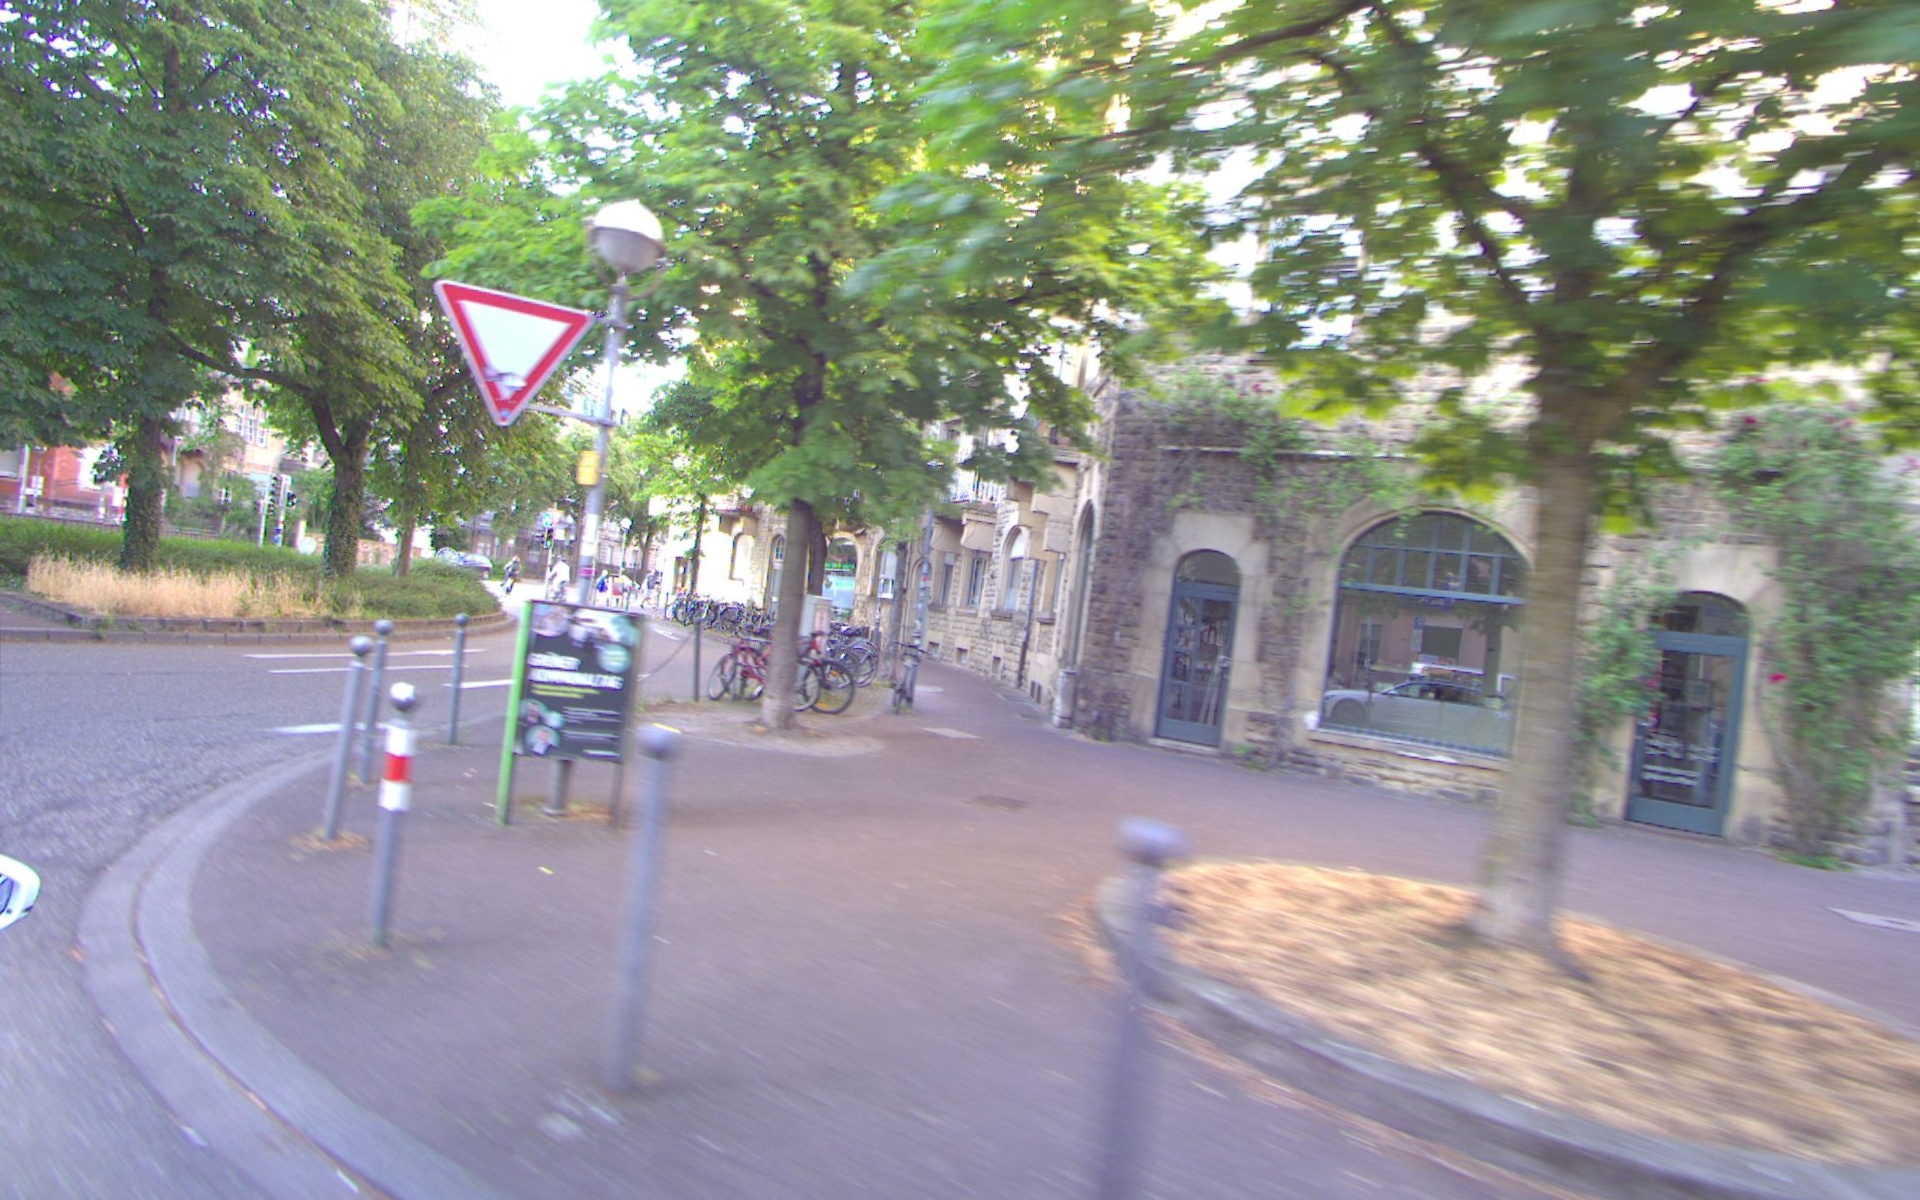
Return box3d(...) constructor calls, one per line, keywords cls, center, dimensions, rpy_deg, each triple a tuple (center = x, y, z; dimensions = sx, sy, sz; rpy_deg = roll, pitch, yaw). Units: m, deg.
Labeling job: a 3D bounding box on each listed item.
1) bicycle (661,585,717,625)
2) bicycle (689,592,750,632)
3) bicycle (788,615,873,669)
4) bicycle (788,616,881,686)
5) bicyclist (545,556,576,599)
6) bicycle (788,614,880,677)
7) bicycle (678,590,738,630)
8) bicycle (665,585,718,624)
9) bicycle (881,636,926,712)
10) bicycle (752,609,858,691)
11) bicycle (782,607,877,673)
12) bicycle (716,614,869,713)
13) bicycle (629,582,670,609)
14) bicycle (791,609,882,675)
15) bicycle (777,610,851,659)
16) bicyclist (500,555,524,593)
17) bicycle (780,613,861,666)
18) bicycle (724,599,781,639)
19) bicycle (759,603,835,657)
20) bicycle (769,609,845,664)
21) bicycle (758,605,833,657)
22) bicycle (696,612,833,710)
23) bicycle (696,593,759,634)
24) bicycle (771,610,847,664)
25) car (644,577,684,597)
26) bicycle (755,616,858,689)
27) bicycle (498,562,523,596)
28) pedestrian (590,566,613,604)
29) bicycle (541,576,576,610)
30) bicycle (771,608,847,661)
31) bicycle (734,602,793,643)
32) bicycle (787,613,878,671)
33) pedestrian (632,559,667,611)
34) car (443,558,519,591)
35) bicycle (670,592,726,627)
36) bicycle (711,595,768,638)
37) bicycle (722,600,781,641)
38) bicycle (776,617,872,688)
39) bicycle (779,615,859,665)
box3d(cls="bicycle", center=(-10.010, 0.202, 37.243), dimensions=(1.782, 1.251, 0.691), rpy_deg=(8, 0, -43))
box3d(cls="bicycle", center=(-8.328, 0.423, 34.857), dimensions=(1.873, 1.176, 0.635), rpy_deg=(8, 0, -33))
box3d(cls="bicycle", center=(-3.007, 0.967, 23.340), dimensions=(1.825, 1.026, 0.418), rpy_deg=(7, 0, -12))
box3d(cls="bicycle", center=(-2.304, 0.938, 18.478), dimensions=(1.580, 1.089, 0.418), rpy_deg=(7, 0, -9))
box3d(cls="bicyclist", center=(-14.425, -0.825, 36.330), dimensions=(0.694, 1.428, 0.856), rpy_deg=(7, 0, -36))
box3d(cls="bicycle", center=(-2.623, 0.949, 20.945), dimensions=(1.767, 1.076, 0.446), rpy_deg=(7, 0, -13))
box3d(cls="bicycle", center=(-8.841, 0.370, 35.392), dimensions=(1.880, 1.176, 0.633), rpy_deg=(8, 0, -43))
box3d(cls="bicycle", center=(-10.239, 0.187, 38.396), dimensions=(1.783, 1.251, 0.643), rpy_deg=(8, 0, -45))
box3d(cls="bicycle", center=(-0.810, 1.061, 14.791), dimensions=(0.424, 0.980, 1.727), rpy_deg=(7, -1, 1))
box3d(cls="bicycle", center=(-2.557, 0.819, 16.714), dimensions=(1.579, 1.162, 0.554), rpy_deg=(7, 0, -5))
box3d(cls="bicycle", center=(-2.855, 0.876, 22.055), dimensions=(1.891, 1.214, 0.551), rpy_deg=(7, 0, -15))
box3d(cls="bicycle", center=(-2.221, 0.833, 13.397), dimensions=(1.863, 1.052, 0.432), rpy_deg=(7, 0, 8))
box3d(cls="bicycle", center=(-16.335, -0.243, 53.007), dimensions=(1.857, 1.144, 0.726), rpy_deg=(8, 0, -29))
box3d(cls="bicycle", center=(-2.630, 0.898, 21.357), dimensions=(1.767, 1.182, 0.446), rpy_deg=(7, 0, -13))
box3d(cls="bicycle", center=(-3.914, 0.938, 26.995), dimensions=(1.841, 1.117, 0.567), rpy_deg=(8, 0, -40))
box3d(cls="bicyclist", center=(-18.452, -1.073, 41.411), dimensions=(0.690, 1.479, 0.780), rpy_deg=(7, 0, -21))
box3d(cls="bicycle", center=(-3.411, 0.970, 24.629), dimensions=(1.827, 1.064, 0.417), rpy_deg=(7, 0, -16))
box3d(cls="bicycle", center=(-6.790, 0.631, 32.948), dimensions=(1.655, 1.091, 0.483), rpy_deg=(7, 0, -27))
box3d(cls="bicycle", center=(-4.425, 0.821, 27.329), dimensions=(1.857, 1.228, 0.491), rpy_deg=(7, -6, -16))
box3d(cls="bicycle", center=(-3.944, 0.943, 26.024), dimensions=(1.827, 1.133, 0.421), rpy_deg=(7, -19, -16))
box3d(cls="bicycle", center=(-4.530, 0.867, 27.754), dimensions=(1.865, 1.154, 0.488), rpy_deg=(9, 3, -30))
box3d(cls="bicycle", center=(-2.532, 0.786, 13.062), dimensions=(1.577, 1.052, 0.432), rpy_deg=(7, 0, 8))
box3d(cls="bicycle", center=(-7.908, 0.467, 34.231), dimensions=(1.873, 1.176, 0.698), rpy_deg=(8, 0, -33))
box3d(cls="bicycle", center=(-3.861, 0.952, 25.761), dimensions=(1.827, 1.095, 0.421), rpy_deg=(7, -19, -16))
box3d(cls="car", center=(-28.680, -1.203, 97.723), dimensions=(1.913, 1.500, 4.172), rpy_deg=(7, -1, 11))
box3d(cls="bicycle", center=(-2.602, 0.895, 17.156), dimensions=(1.579, 1.033, 0.554), rpy_deg=(7, 0, -5))
box3d(cls="bicycle", center=(-18.480, -0.870, 41.418), dimensions=(0.690, 1.251, 1.854), rpy_deg=(7, 0, -20))
box3d(cls="pedestrian", center=(-17.911, -0.757, 50.231), dimensions=(0.858, 1.817, 0.920), rpy_deg=(7, 0, -21))
box3d(cls="bicycle", center=(-14.534, -0.256, 36.391), dimensions=(0.693, 1.067, 1.775), rpy_deg=(7, 0, -36))
box3d(cls="bicycle", center=(-3.971, 0.904, 26.433), dimensions=(1.827, 1.158, 0.417), rpy_deg=(7, 0, -16))
box3d(cls="bicycle", center=(-6.166, 0.702, 31.542), dimensions=(1.659, 1.091, 0.482), rpy_deg=(8, 0, -34))
box3d(cls="bicycle", center=(-2.896, 0.948, 22.800), dimensions=(1.891, 1.078, 0.551), rpy_deg=(7, 0, -15))
box3d(cls="pedestrian", center=(-13.390, -0.660, 43.362), dimensions=(1.003, 2.112, 1.052), rpy_deg=(6, 1, -30))
box3d(cls="car", center=(-29.752, -1.546, 62.660), dimensions=(1.913, 1.528, 4.423), rpy_deg=(7, -1, 11))
box3d(cls="bicycle", center=(-9.510, 0.353, 36.557), dimensions=(1.795, 1.051, 0.691), rpy_deg=(8, -1, -43))
box3d(cls="bicycle", center=(-7.236, 0.542, 33.048), dimensions=(1.655, 1.144, 0.482), rpy_deg=(7, 6, -26))
box3d(cls="bicycle", center=(-6.593, 0.649, 31.868), dimensions=(1.659, 1.091, 0.482), rpy_deg=(8, 0, -34))
box3d(cls="bicycle", center=(-2.434, 0.938, 18.076), dimensions=(1.580, 1.076, 0.418), rpy_deg=(7, 0, -9))
box3d(cls="bicycle", center=(-3.497, 0.981, 24.908), dimensions=(1.827, 1.012, 0.417), rpy_deg=(7, 0, -16))
